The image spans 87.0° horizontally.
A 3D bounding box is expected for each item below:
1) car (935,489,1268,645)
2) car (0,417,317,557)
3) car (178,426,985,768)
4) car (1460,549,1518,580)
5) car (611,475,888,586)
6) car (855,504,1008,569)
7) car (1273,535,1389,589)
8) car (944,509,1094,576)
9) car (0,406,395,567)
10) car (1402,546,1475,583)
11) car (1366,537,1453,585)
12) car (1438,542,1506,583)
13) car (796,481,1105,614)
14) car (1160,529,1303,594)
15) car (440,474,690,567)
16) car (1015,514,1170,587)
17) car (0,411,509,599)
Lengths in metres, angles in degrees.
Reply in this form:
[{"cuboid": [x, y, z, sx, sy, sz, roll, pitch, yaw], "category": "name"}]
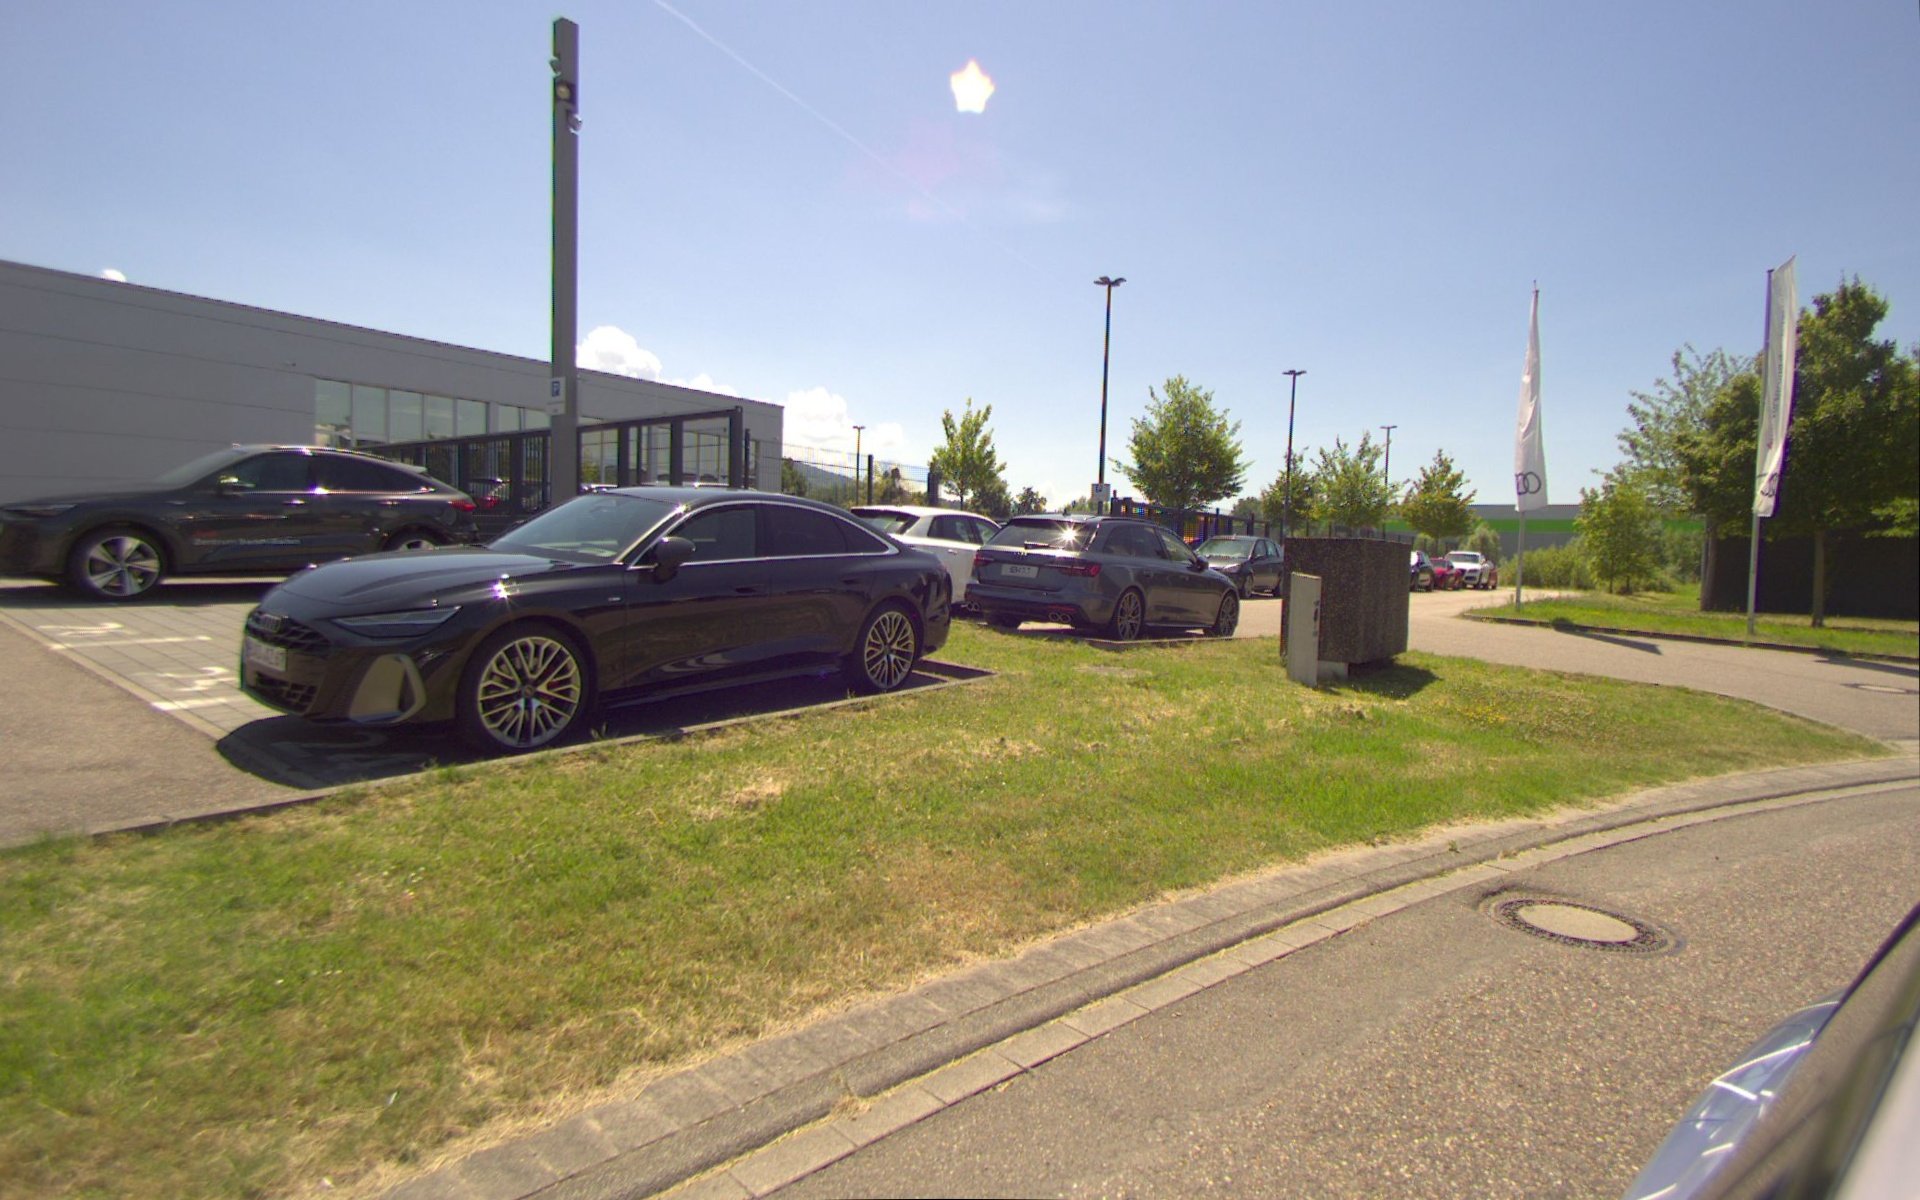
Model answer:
[{"cuboid": [1.958, -0.441, 12.379, 1.956, 1.485, 4.882, 5, 4, 35], "category": "car"}, {"cuboid": [-12.339, -1.614, 14.800, 1.957, 1.763, 4.568, 7, 5, 35], "category": "car"}, {"cuboid": [-2.017, -0.142, 6.917, 1.875, 1.472, 4.960, 6, 5, 35], "category": "car"}, {"cuboid": [26.795, -1.799, 51.216, 1.817, 1.458, 4.056, 5, 5, 38], "category": "car"}, {"cuboid": [-3.489, -1.167, 17.578, 1.957, 1.649, 4.568, 5, 4, 35], "category": "car"}, {"cuboid": [-0.719, -1.756, 28.823, 1.957, 1.649, 4.568, 5, 4, 35], "category": "car"}, {"cuboid": [10.878, -1.116, 29.476, 1.772, 1.418, 4.510, 5, 5, 39], "category": "car"}, {"cuboid": [1.716, -1.551, 27.851, 1.957, 1.649, 4.568, 5, 4, 35], "category": "car"}, {"cuboid": [-9.912, -1.311, 12.942, 1.819, 1.715, 4.361, 3, 3, 35], "category": "car"}, {"cuboid": [19.639, -1.459, 41.478, 1.772, 1.373, 4.115, 5, 5, 38], "category": "car"}, {"cuboid": [16.374, -1.423, 36.750, 1.772, 1.585, 4.345, 5, 5, 38], "category": "car"}, {"cuboid": [23.120, -1.705, 45.606, 1.817, 1.666, 4.336, 5, 5, 38], "category": "car"}, {"cuboid": [0.086, -0.732, 14.339, 1.815, 1.547, 4.882, 5, 4, 35], "category": "car"}, {"cuboid": [6.526, -0.930, 24.078, 1.772, 1.365, 4.089, 5, 5, 38], "category": "car"}, {"cuboid": [-7.828, -1.547, 20.401, 1.957, 1.649, 4.322, 5, 4, 35], "category": "car"}, {"cuboid": [3.493, -1.255, 25.895, 1.957, 1.649, 4.568, 5, 4, 35], "category": "car"}, {"cuboid": [-7.823, -0.982, 11.393, 1.820, 1.662, 4.725, 7, 5, 35], "category": "car"}]
